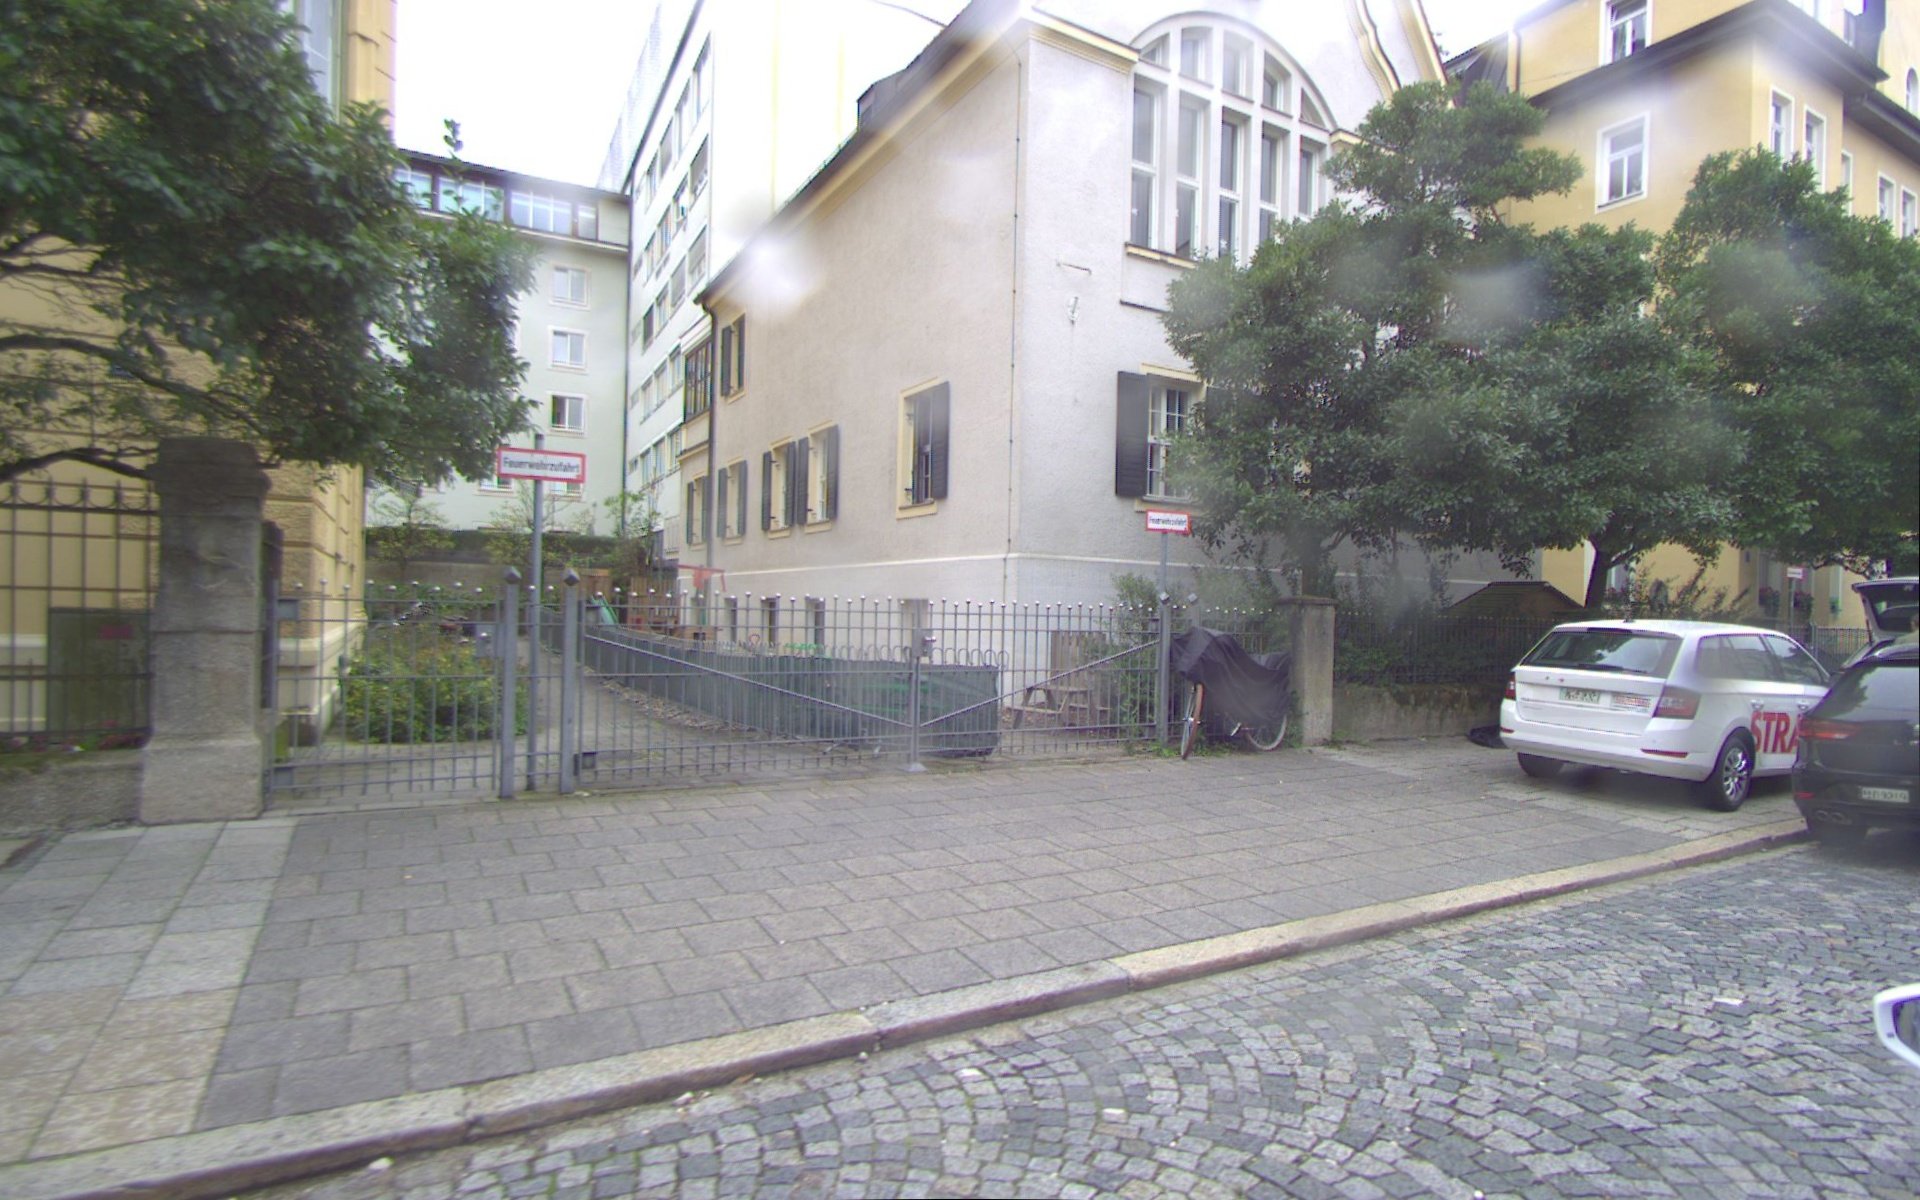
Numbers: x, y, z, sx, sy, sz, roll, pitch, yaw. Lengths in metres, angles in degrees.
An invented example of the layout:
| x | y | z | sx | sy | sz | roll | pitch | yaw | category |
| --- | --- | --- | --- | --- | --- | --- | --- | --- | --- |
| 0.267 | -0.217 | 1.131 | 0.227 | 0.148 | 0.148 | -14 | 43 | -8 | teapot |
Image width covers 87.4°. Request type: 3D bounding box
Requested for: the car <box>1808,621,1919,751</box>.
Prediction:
| x | y | z | sx | sy | sz | roll | pitch | yaw | category |
| --- | --- | --- | --- | --- | --- | --- | --- | --- | --- |
| 12.924 | 1.060 | 12.789 | 4.506 | 1.436 | 1.768 | 1 | 1 | -29 | car |

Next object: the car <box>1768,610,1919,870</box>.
| x | y | z | sx | sy | sz | roll | pitch | yaw | category |
| --- | --- | --- | --- | --- | --- | --- | --- | --- | --- |
| 7.967 | 0.931 | 7.384 | 4.485 | 1.624 | 1.731 | 2 | -2 | -31 | car |

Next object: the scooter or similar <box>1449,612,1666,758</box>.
| x | y | z | sx | sy | sz | roll | pitch | yaw | category |
| --- | --- | --- | --- | --- | --- | --- | --- | --- | --- |
| 7.050 | 0.940 | 11.817 | 2.603 | 1.543 | 1.057 | 1 | -1 | -30 | scooter or similar |

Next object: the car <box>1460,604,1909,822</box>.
| x | y | z | sx | sy | sz | roll | pitch | yaw | category |
| --- | --- | --- | --- | --- | --- | --- | --- | --- | --- |
| 6.783 | 0.891 | 9.284 | 4.416 | 1.557 | 1.731 | 2 | 1 | -31 | car |

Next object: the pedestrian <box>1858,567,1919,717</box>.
| x | y | z | sx | sy | sz | roll | pitch | yaw | category |
| --- | --- | --- | --- | --- | --- | --- | --- | --- | --- |
| 10.883 | 0.474 | 11.470 | 0.575 | 1.672 | 0.762 | 1 | 0 | -28 | pedestrian |

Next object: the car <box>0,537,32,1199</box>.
| x | y | z | sx | sy | sz | roll | pitch | yaw | category |
| --- | --- | --- | --- | --- | --- | --- | --- | --- | --- |
| -3.563 | 0.599 | 0.585 | 4.148 | 1.607 | 1.729 | 2 | -2 | -33 | car |

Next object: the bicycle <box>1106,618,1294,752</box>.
| x | y | z | sx | sy | sz | roll | pitch | yaw | category |
| --- | --- | --- | --- | --- | --- | --- | --- | --- | --- |
| 2.533 | 0.852 | 10.511 | 2.036 | 1.275 | 0.603 | 1 | 0 | -30 | bicycle |
